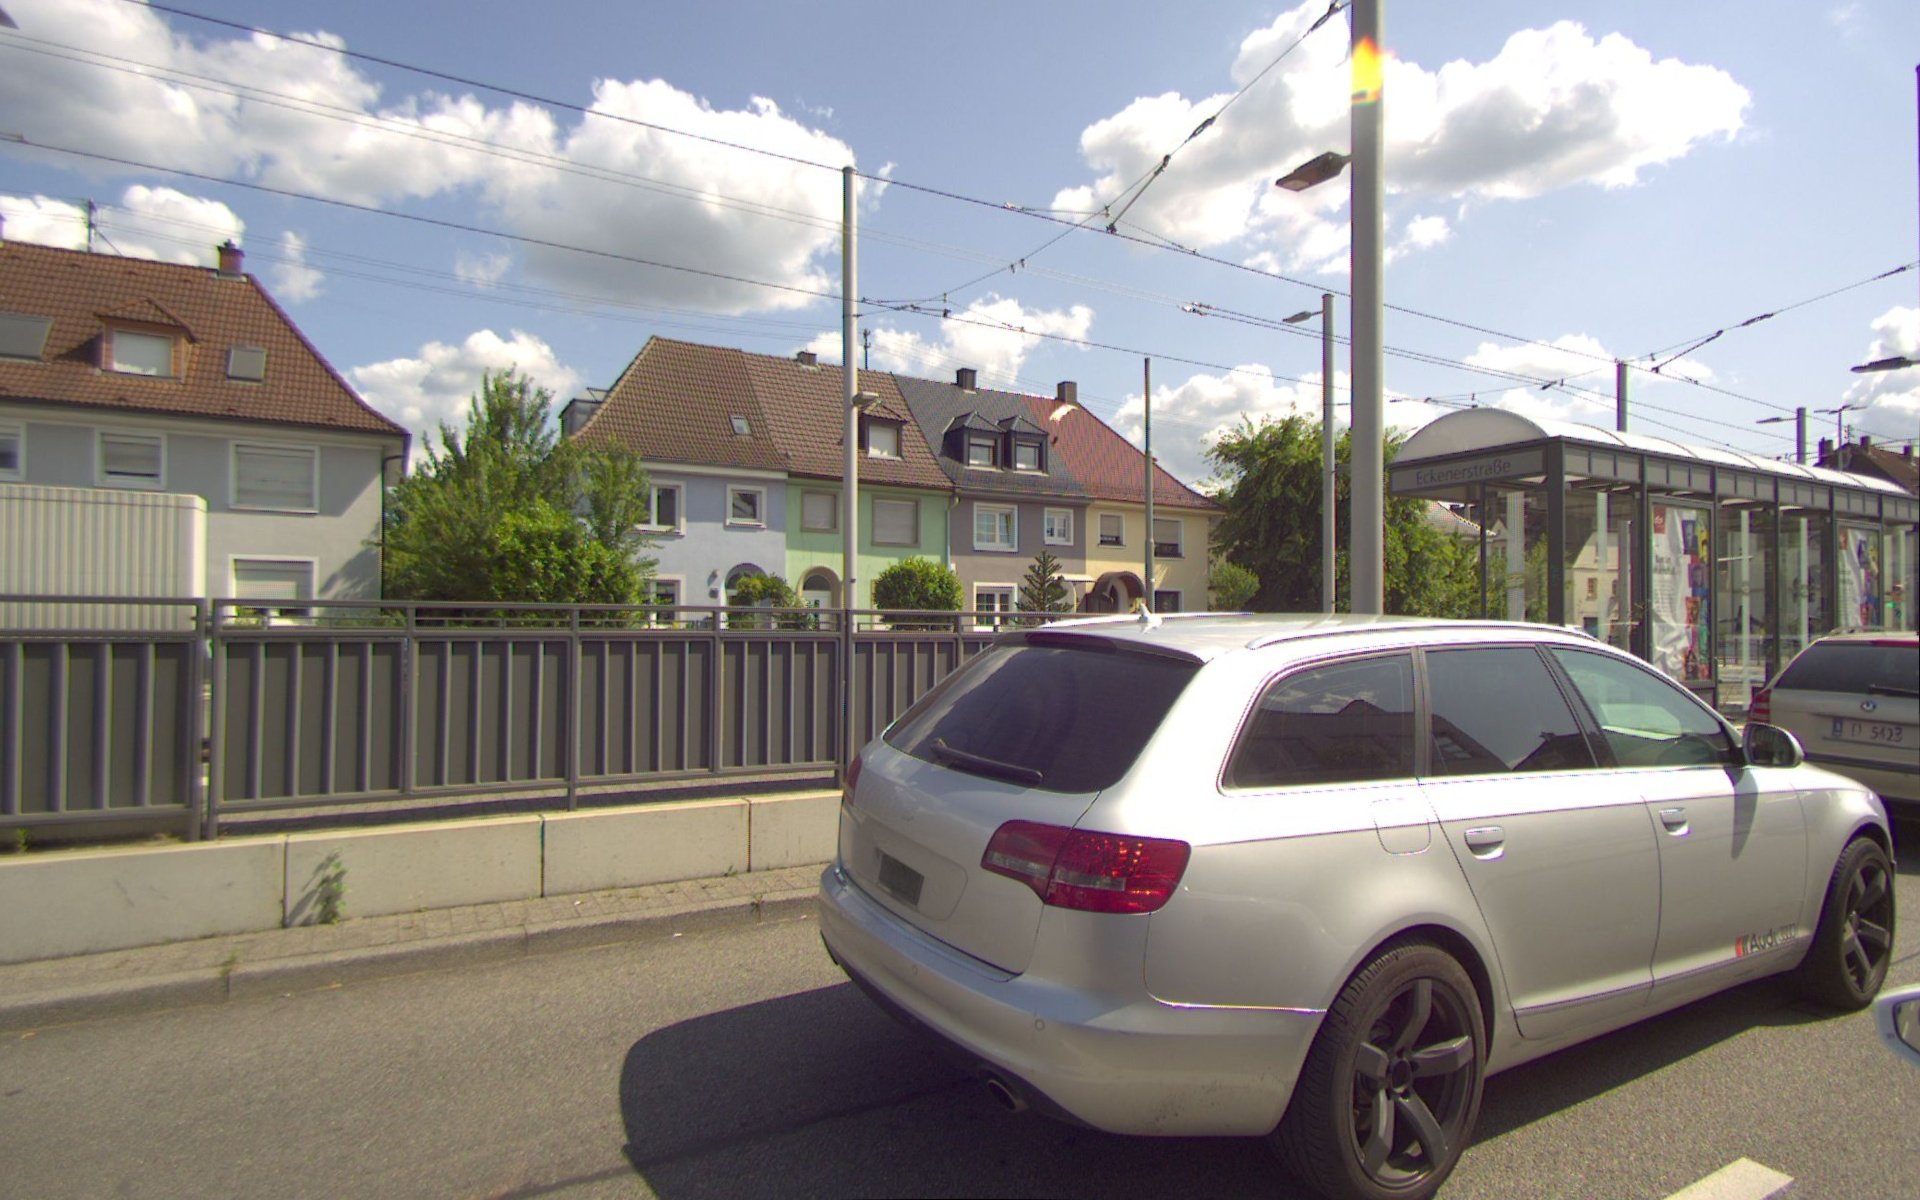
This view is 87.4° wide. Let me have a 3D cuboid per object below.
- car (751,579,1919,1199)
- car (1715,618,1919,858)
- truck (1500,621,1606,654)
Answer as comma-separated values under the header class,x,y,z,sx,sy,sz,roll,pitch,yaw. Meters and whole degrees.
class,x,y,z,sx,sy,sz,roll,pitch,yaw
car,1.750,0.767,3.856,4.667,1.491,1.786,2,0,-30
car,7.651,0.936,7.541,4.075,1.468,1.722,2,0,-30
truck,39.285,2.437,66.736,1.667,1.947,6.166,2,0,-25
